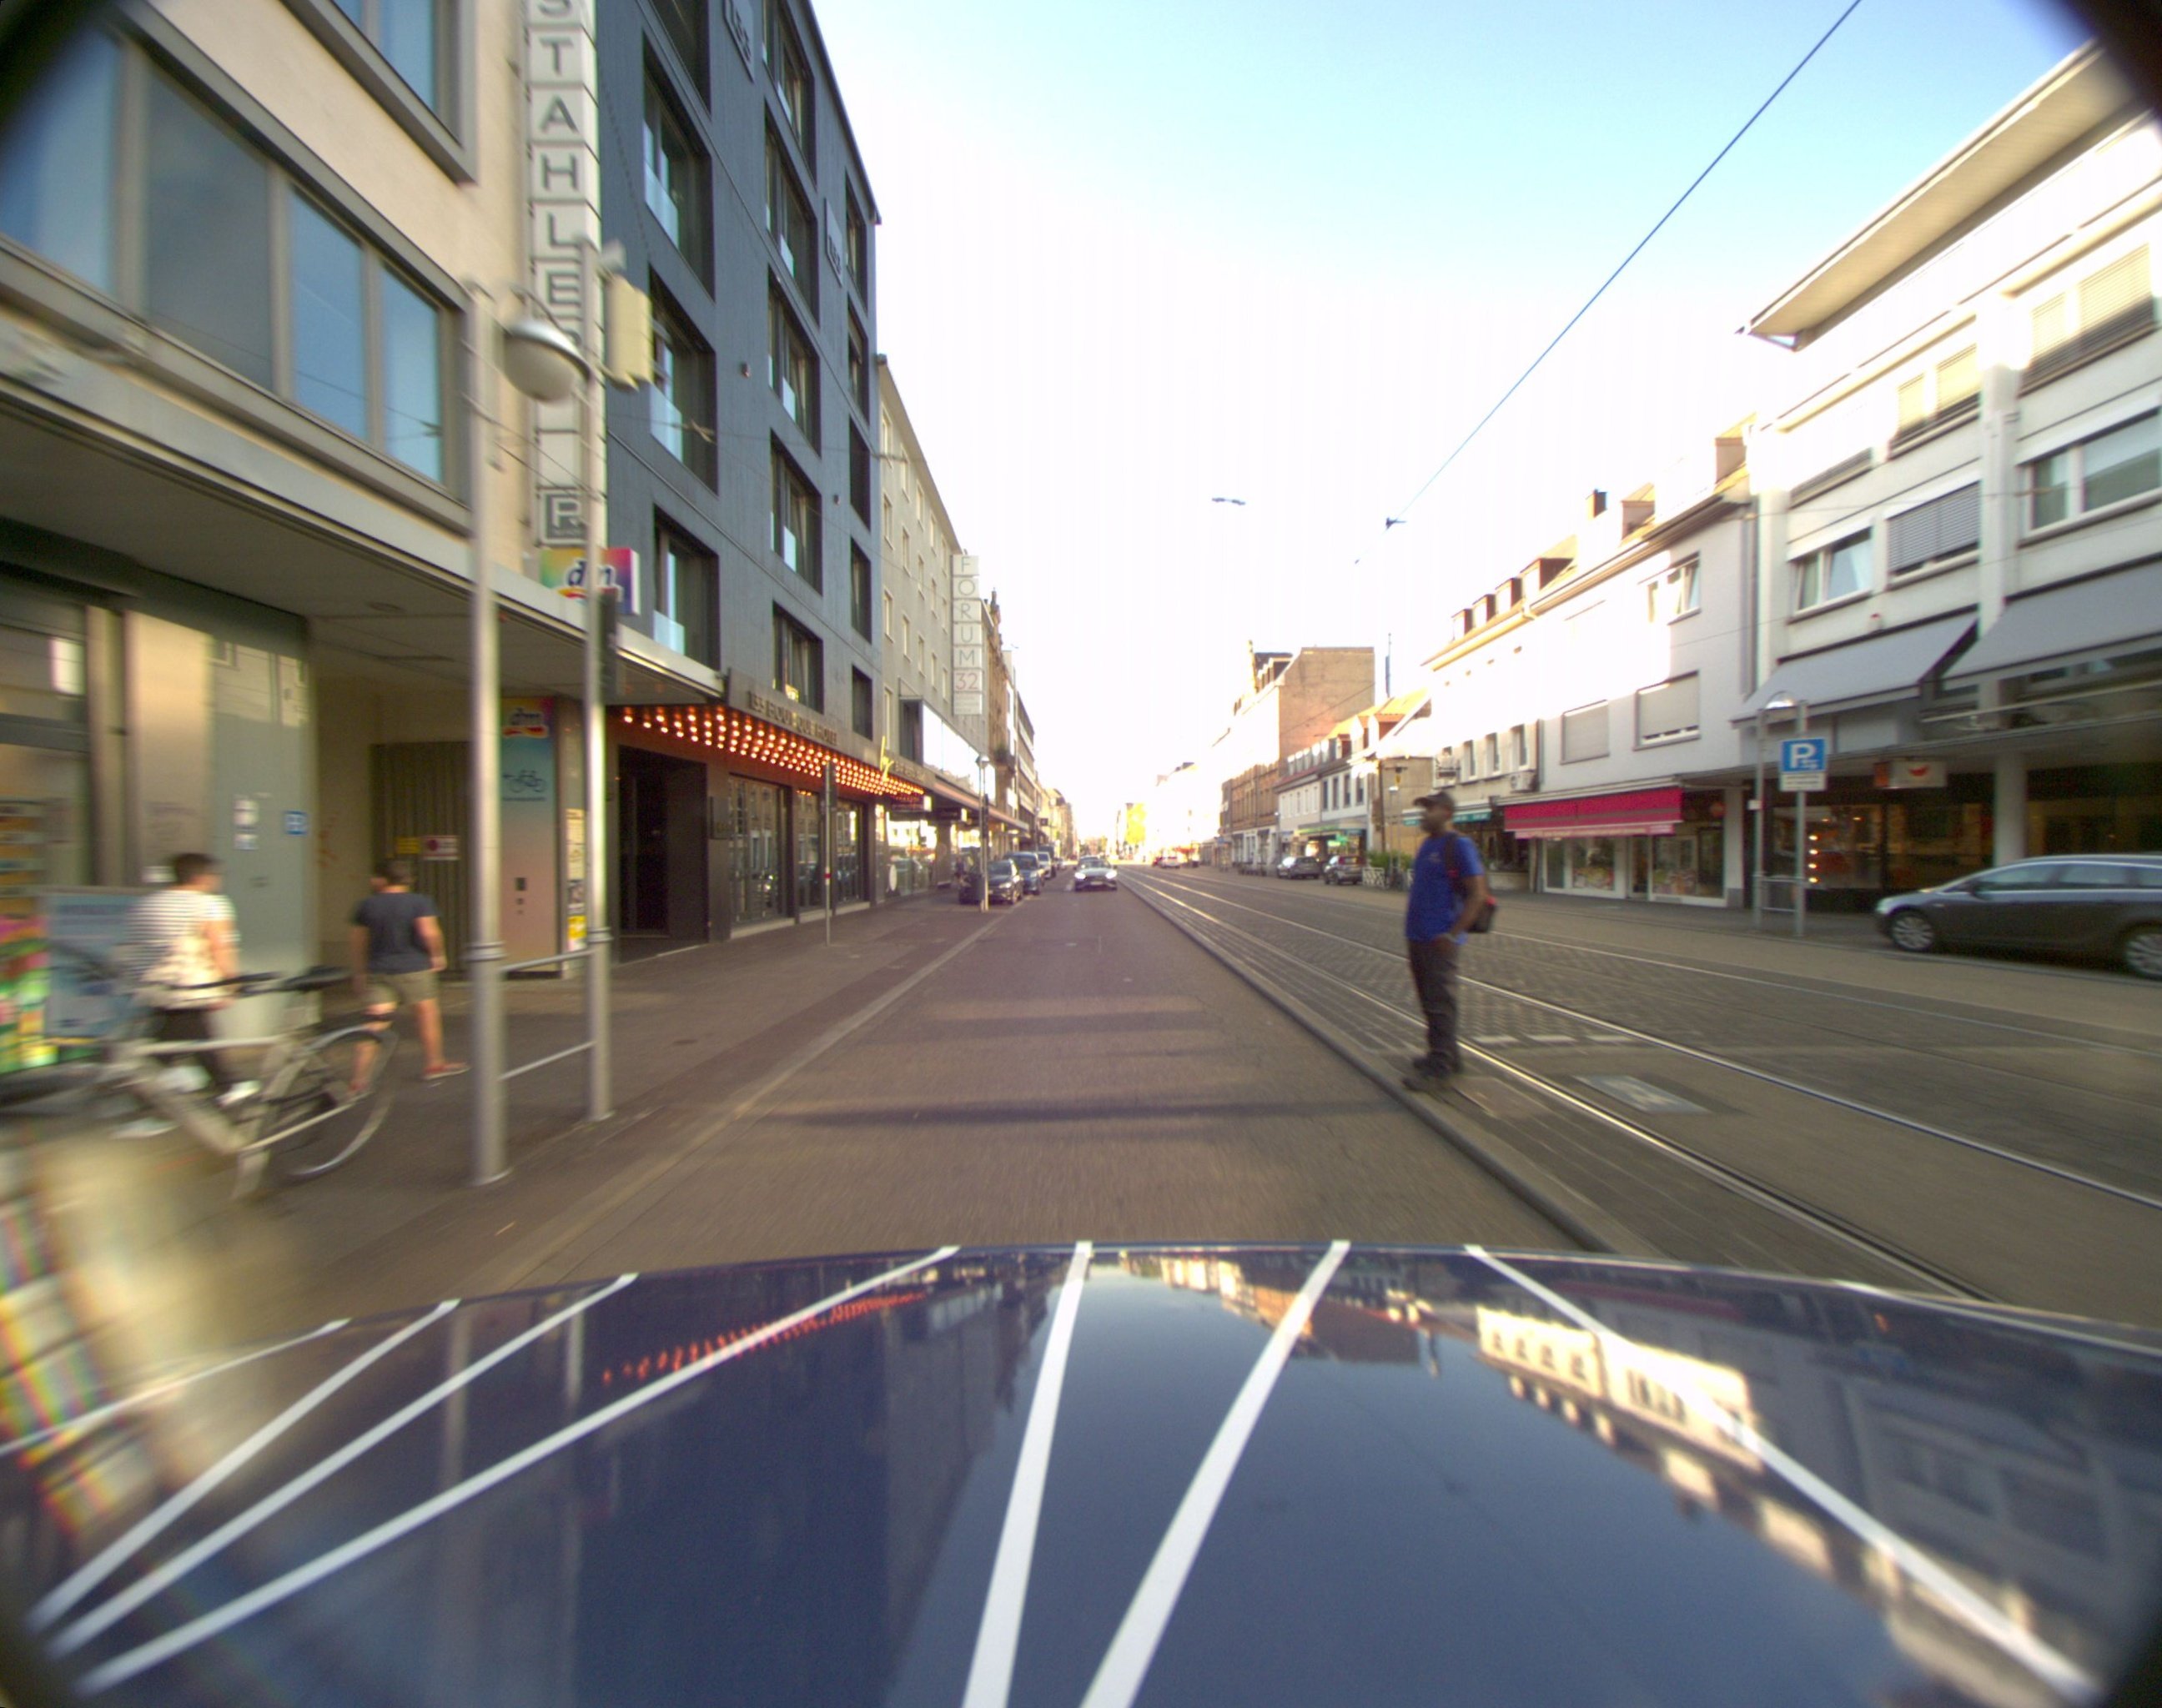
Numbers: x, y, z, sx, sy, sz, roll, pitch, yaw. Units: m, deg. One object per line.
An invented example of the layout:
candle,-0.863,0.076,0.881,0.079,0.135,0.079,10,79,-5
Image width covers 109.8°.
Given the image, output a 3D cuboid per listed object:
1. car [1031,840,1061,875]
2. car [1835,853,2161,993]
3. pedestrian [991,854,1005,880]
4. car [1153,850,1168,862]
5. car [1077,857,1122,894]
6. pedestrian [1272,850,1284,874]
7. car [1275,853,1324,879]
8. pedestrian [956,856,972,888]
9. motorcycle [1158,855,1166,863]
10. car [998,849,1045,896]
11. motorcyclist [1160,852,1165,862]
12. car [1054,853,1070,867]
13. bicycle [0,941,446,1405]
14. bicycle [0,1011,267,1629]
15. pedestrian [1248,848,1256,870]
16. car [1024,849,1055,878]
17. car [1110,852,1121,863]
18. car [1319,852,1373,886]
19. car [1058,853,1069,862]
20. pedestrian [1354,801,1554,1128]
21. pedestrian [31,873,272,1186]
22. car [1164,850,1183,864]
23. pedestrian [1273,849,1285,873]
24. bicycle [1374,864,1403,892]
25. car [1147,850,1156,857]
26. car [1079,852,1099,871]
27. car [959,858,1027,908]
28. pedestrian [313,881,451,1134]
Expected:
car,-2.667,0.336,59.533,2.051,2.486,5.687,-3,-1,0
car,13.480,0.803,10.304,1.741,1.514,4.851,-3,1,1
pedestrian,-4.859,0.770,44.419,0.697,1.499,0.814,0,1,0
car,11.022,0.282,105.677,1.667,1.521,3.999,0,1,1
car,0.782,0.889,34.025,1.858,1.463,4.785,0,1,0
pedestrian,14.956,0.610,57.706,0.658,1.752,0.581,-3,1,-7
car,13.858,0.716,48.446,1.822,1.505,4.762,-1,1,1
pedestrian,-5.462,0.826,35.453,0.577,1.431,0.731,1,1,0
motorcycle,10.759,0.690,100.652,0.907,0.987,1.935,0,1,1
car,-2.454,0.714,32.277,1.821,1.849,4.548,0,1,-3
motorcyclist,10.746,0.402,100.614,0.540,1.296,0.655,1,1,0
car,-2.179,0.716,87.954,1.630,1.543,3.508,1,1,1
bicycle,-3.605,1.090,3.166,0.583,1.250,1.601,1,1,-1
bicycle,-3.352,1.090,1.798,2.043,1.267,0.524,0,1,-9
pedestrian,14.223,0.451,63.156,0.581,1.795,0.659,-2,1,12
car,-2.860,0.644,52.702,2.051,1.899,4.877,0,1,-2
car,6.989,0.656,155.189,1.998,2.002,4.000,-3,1,2
car,13.580,0.743,39.071,1.701,1.594,2.891,-2,1,1
car,-2.690,0.573,116.554,1.630,1.342,3.463,1,1,1
pedestrian,2.226,0.621,4.632,0.806,1.827,0.746,1,1,-1
pedestrian,-5.065,0.908,4.178,0.583,1.576,0.597,1,1,-1
car,10.788,0.372,89.184,1.802,1.625,3.676,0,1,1
pedestrian,15.278,0.536,58.615,0.657,1.839,0.583,-2,1,31
bicycle,12.906,1.000,31.902,0.519,1.084,1.716,-3,1,1
car,15.676,-0.058,169.154,1.630,1.524,3.463,1,1,1
car,0.713,0.654,66.589,1.630,1.593,3.330,1,1,1
car,-2.898,0.909,25.905,1.726,1.476,4.416,1,1,0
pedestrian,-4.472,0.929,4.897,0.584,1.485,0.523,1,1,-35
